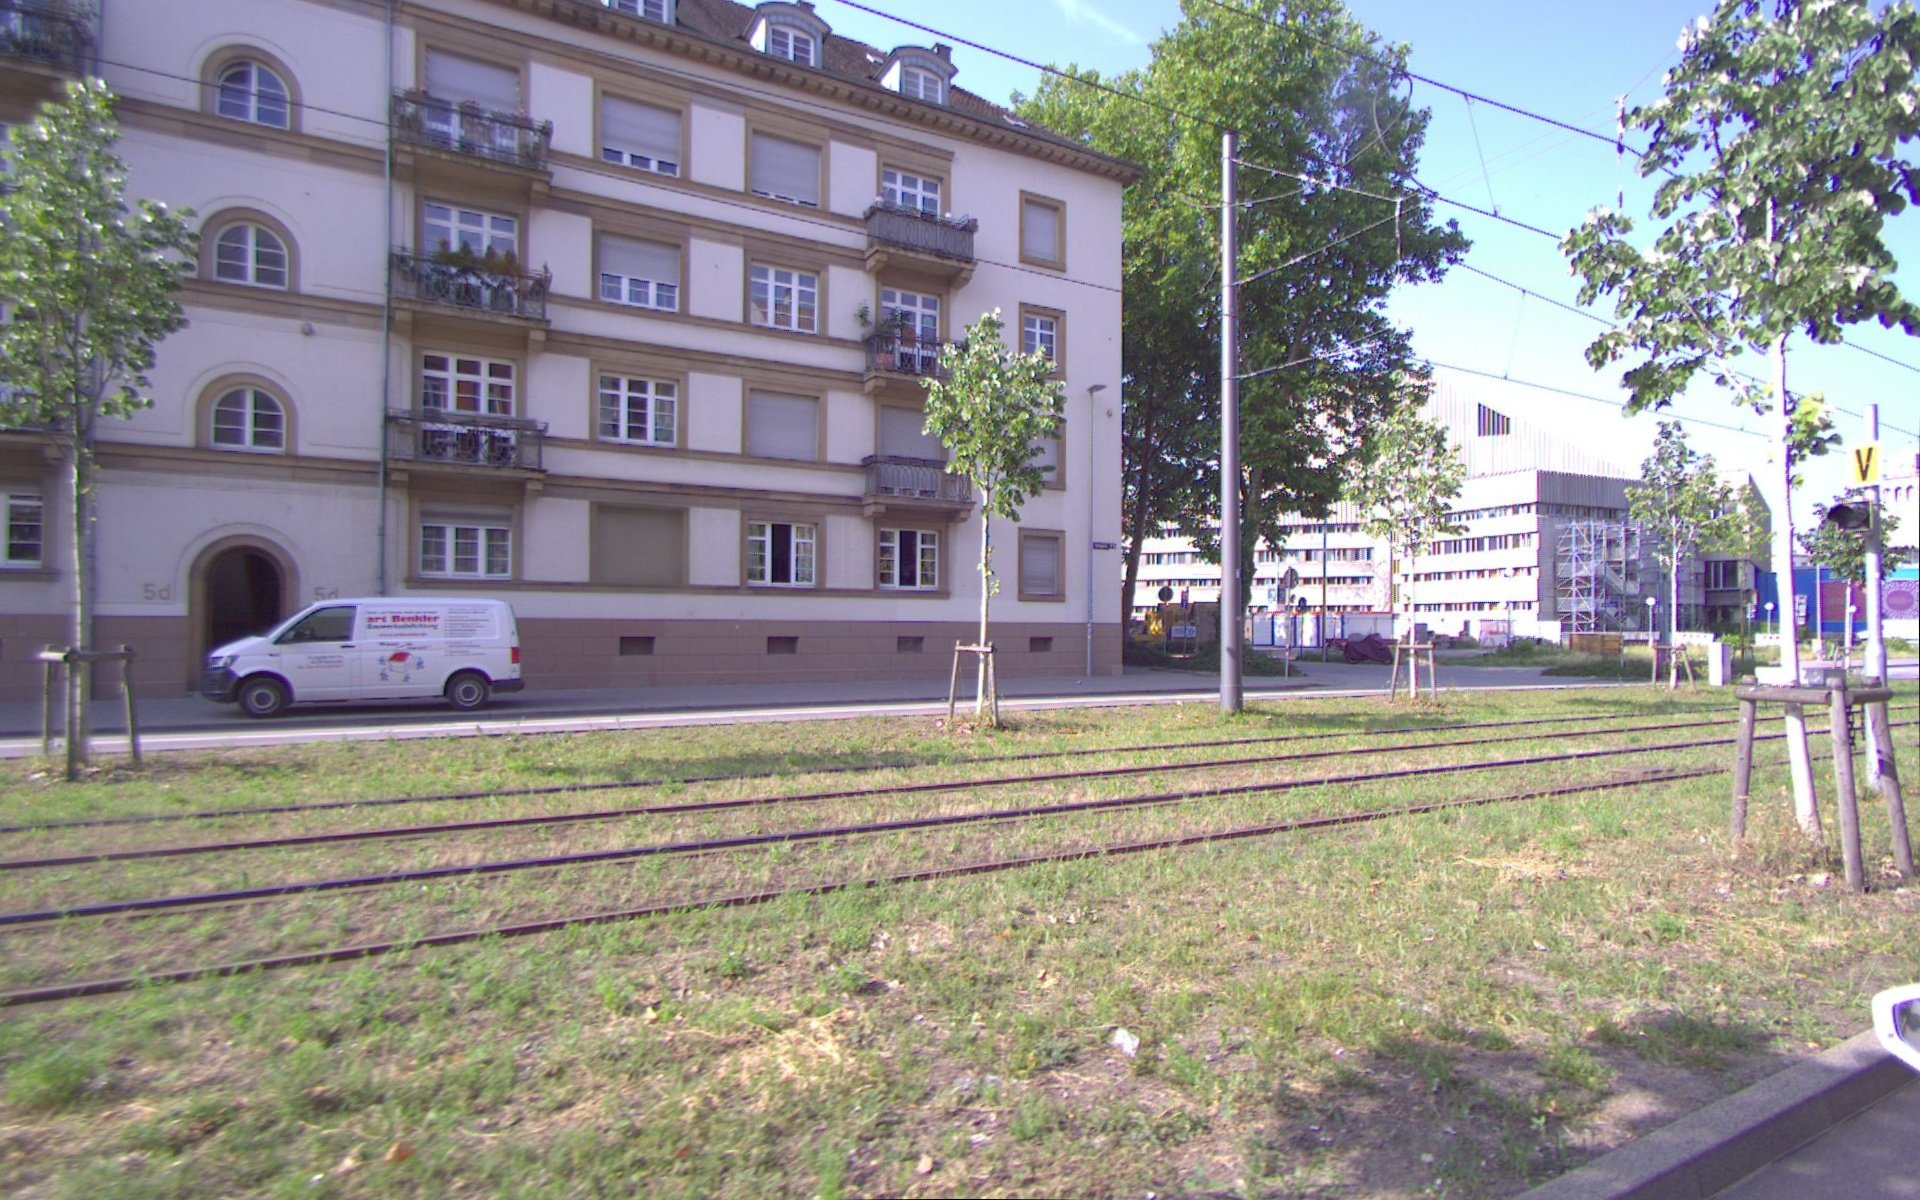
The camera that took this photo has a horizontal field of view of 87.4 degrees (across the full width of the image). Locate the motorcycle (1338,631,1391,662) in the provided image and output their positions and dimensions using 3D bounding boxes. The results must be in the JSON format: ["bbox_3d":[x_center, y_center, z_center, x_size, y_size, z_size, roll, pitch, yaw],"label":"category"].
[{"bbox_3d":[18.666,2.136,46.400,2.253,1.387,0.818,0,-1,24],"label":"motorcycle"}]

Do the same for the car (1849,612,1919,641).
[{"bbox_3d":[95.078,2.720,102.165,6.794,2.674,2.502,2,0,41],"label":"car"}]

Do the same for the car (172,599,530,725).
[{"bbox_3d":[-10.414,0.995,17.632,5.090,1.944,1.985,1,0,-29],"label":"car"}]
